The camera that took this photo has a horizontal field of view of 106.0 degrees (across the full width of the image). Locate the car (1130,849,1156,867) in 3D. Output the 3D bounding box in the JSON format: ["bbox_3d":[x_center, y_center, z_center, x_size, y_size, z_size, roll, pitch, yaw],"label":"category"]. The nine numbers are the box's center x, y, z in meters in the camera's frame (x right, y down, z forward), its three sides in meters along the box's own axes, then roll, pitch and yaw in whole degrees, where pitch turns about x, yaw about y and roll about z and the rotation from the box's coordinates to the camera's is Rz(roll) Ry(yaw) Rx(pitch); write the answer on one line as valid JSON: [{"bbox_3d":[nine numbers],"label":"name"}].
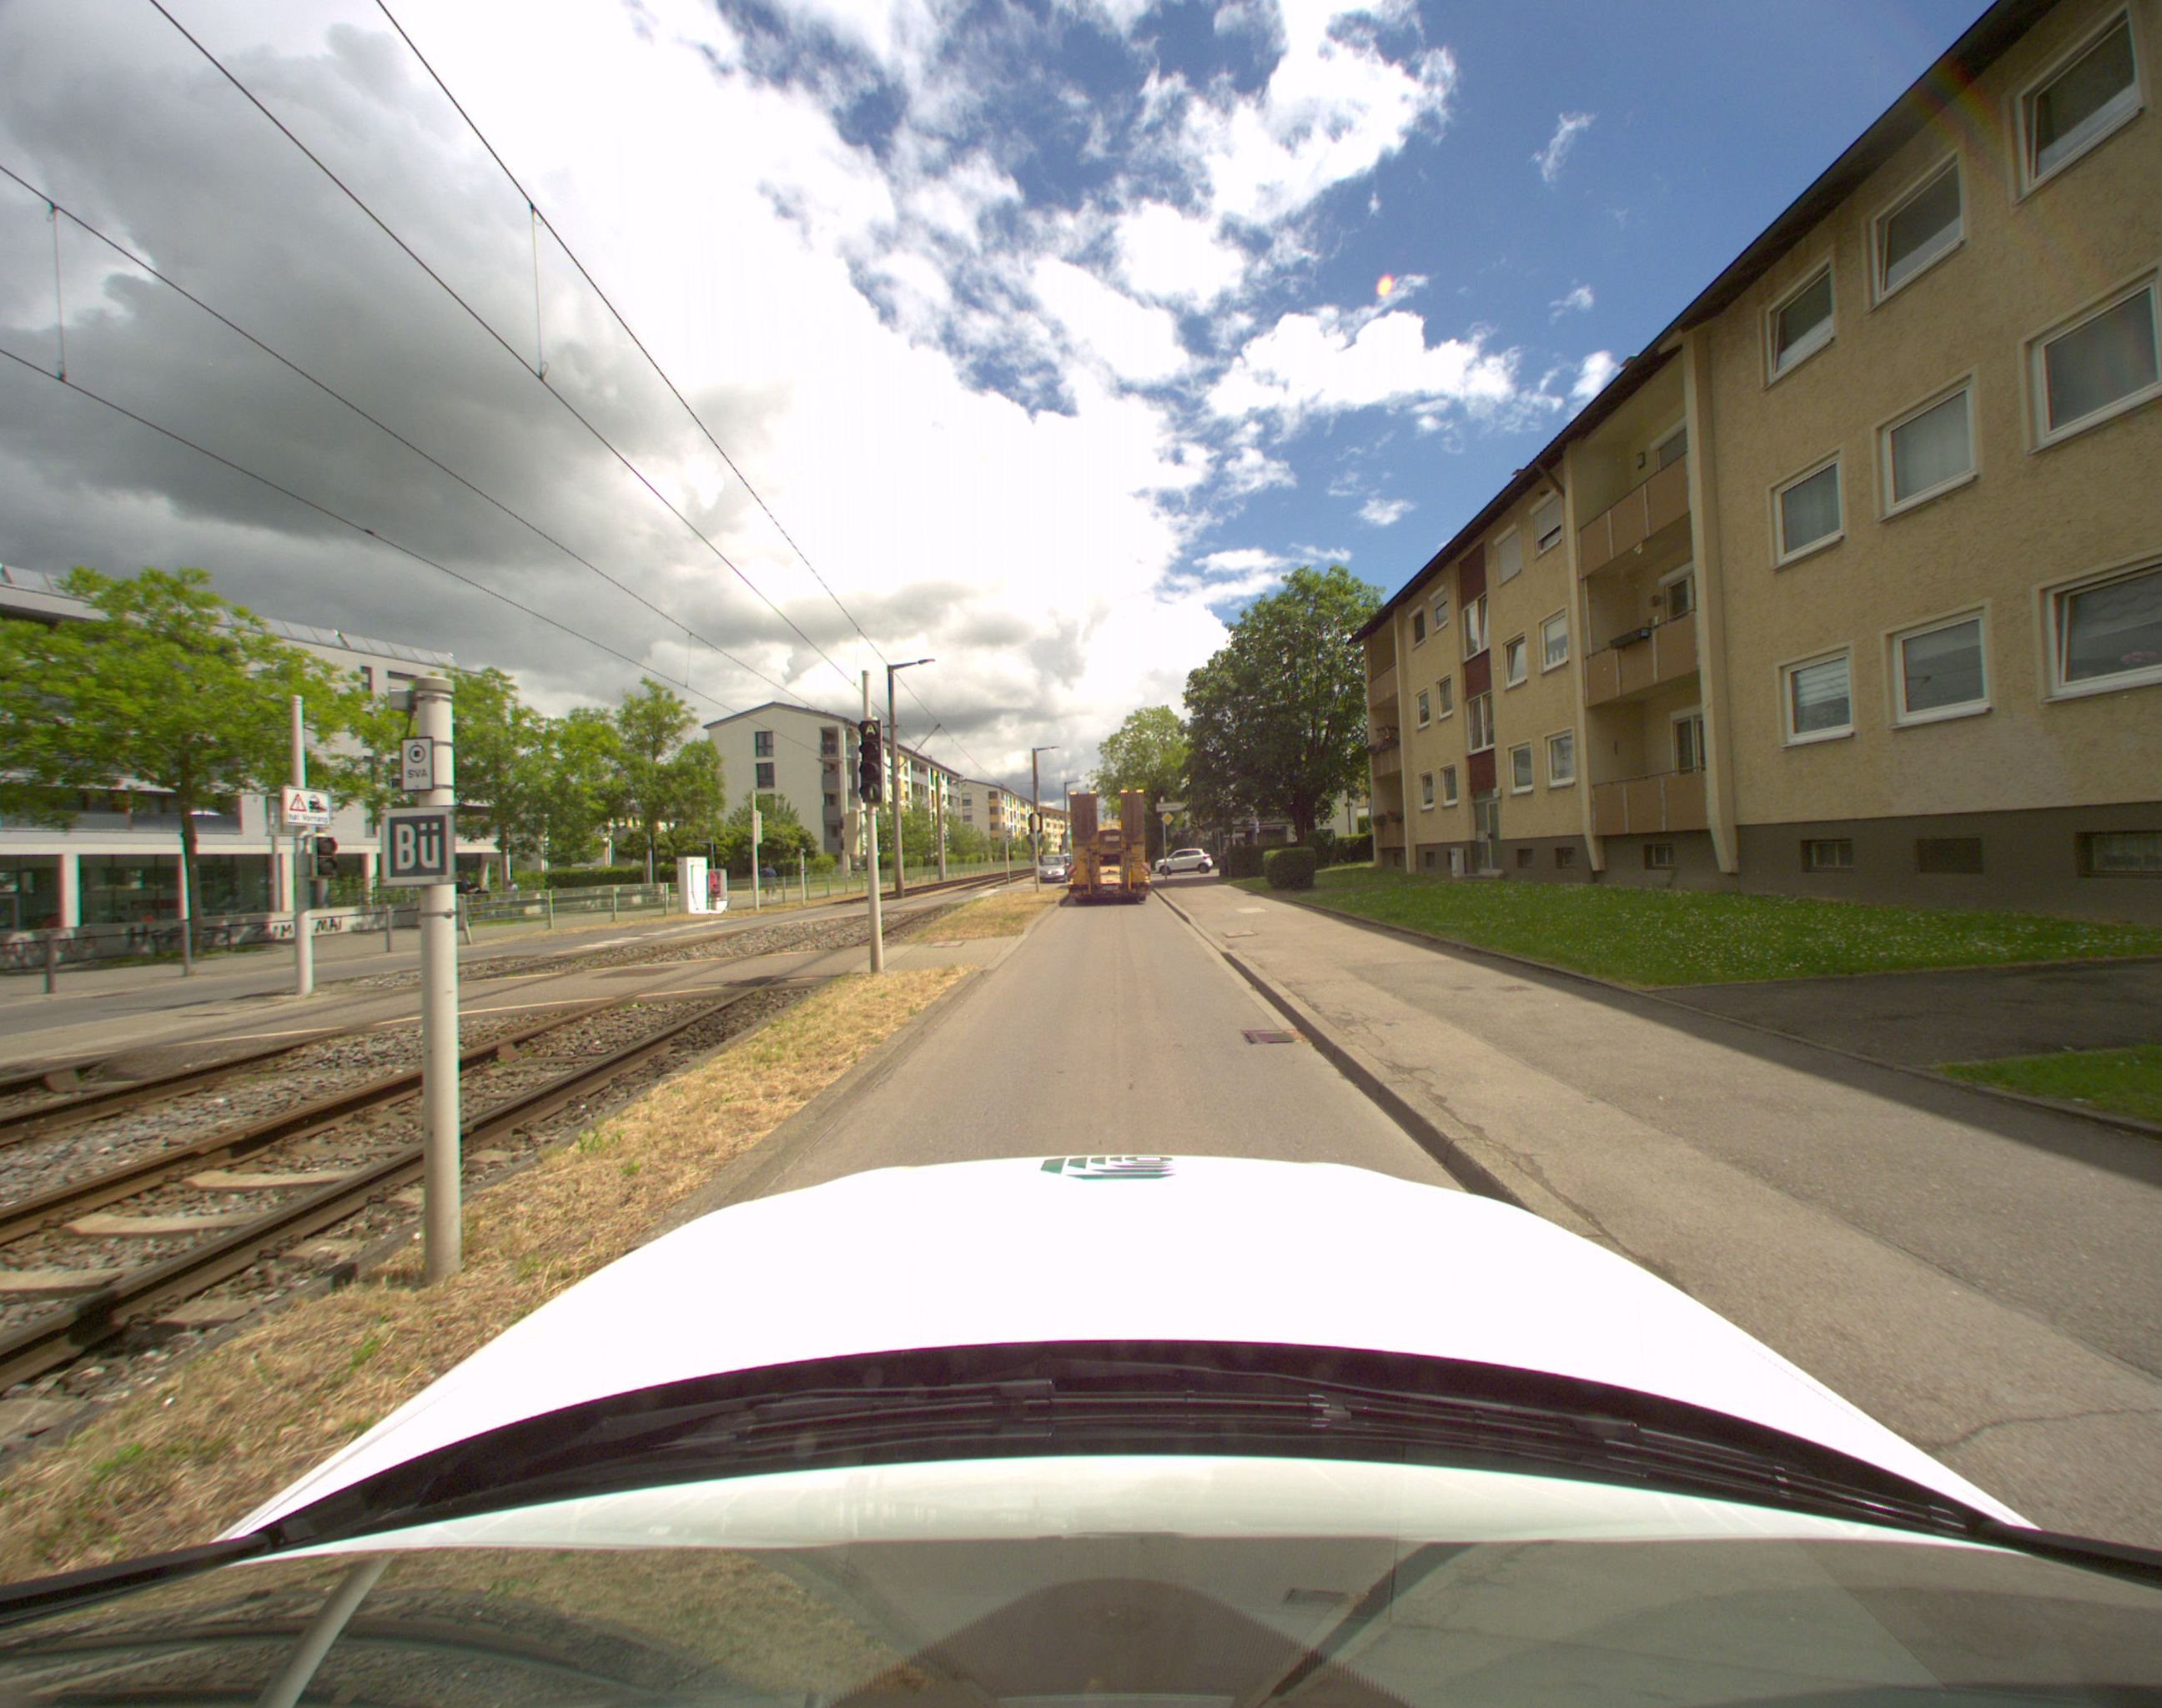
[{"bbox_3d":[5.342,0.335,70.566,1.986,1.387,4.002,-4,1,1],"label":"car"}]

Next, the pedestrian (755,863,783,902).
[{"bbox_3d":[-13.879,1.268,36.196,0.746,1.661,0.871,-4,1,5],"label":"pedestrian"}]

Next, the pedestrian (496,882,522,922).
[{"bbox_3d":[-23.085,1.919,32.870,0.539,1.547,0.531,-3,1,22],"label":"pedestrian"}]

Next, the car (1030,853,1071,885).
[{"bbox_3d":[-1.731,0.849,47.208,1.794,1.652,4.136,-4,-1,4],"label":"car"}]

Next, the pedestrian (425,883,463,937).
[{"bbox_3d":[-19.504,1.707,24.936,0.618,1.573,0.560,-4,1,13],"label":"pedestrian"}]

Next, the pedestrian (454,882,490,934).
[{"bbox_3d":[-19.366,1.726,25.911,0.619,1.573,0.559,-4,1,7],"label":"pedestrian"}]

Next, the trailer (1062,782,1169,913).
[{"bbox_3d":[1.016,-0.293,30.524,3.041,3.772,11.610,-4,1,0],"label":"trailer"}]

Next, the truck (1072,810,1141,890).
[{"bbox_3d":[1.112,-0.216,39.668,2.825,3.330,7.983,-4,1,0],"label":"truck"}]

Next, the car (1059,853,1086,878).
[{"bbox_3d":[-0.593,0.830,61.732,1.594,1.732,3.943,-4,-1,4],"label":"car"}]

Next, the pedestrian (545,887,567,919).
[{"bbox_3d":[-21.631,2.007,33.566,0.539,1.246,0.460,-3,1,22],"label":"pedestrian"}]

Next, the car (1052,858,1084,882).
[{"bbox_3d":[-0.815,1.025,52.955,1.594,1.381,3.961,-4,-1,4],"label":"car"}]

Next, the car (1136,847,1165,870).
[{"bbox_3d":[5.540,0.356,65.616,1.986,1.617,4.002,-4,1,1],"label":"car"}]

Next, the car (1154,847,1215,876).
[{"bbox_3d":[6.554,0.485,51.417,3.573,1.584,2.007,-4,-1,13],"label":"car"}]
